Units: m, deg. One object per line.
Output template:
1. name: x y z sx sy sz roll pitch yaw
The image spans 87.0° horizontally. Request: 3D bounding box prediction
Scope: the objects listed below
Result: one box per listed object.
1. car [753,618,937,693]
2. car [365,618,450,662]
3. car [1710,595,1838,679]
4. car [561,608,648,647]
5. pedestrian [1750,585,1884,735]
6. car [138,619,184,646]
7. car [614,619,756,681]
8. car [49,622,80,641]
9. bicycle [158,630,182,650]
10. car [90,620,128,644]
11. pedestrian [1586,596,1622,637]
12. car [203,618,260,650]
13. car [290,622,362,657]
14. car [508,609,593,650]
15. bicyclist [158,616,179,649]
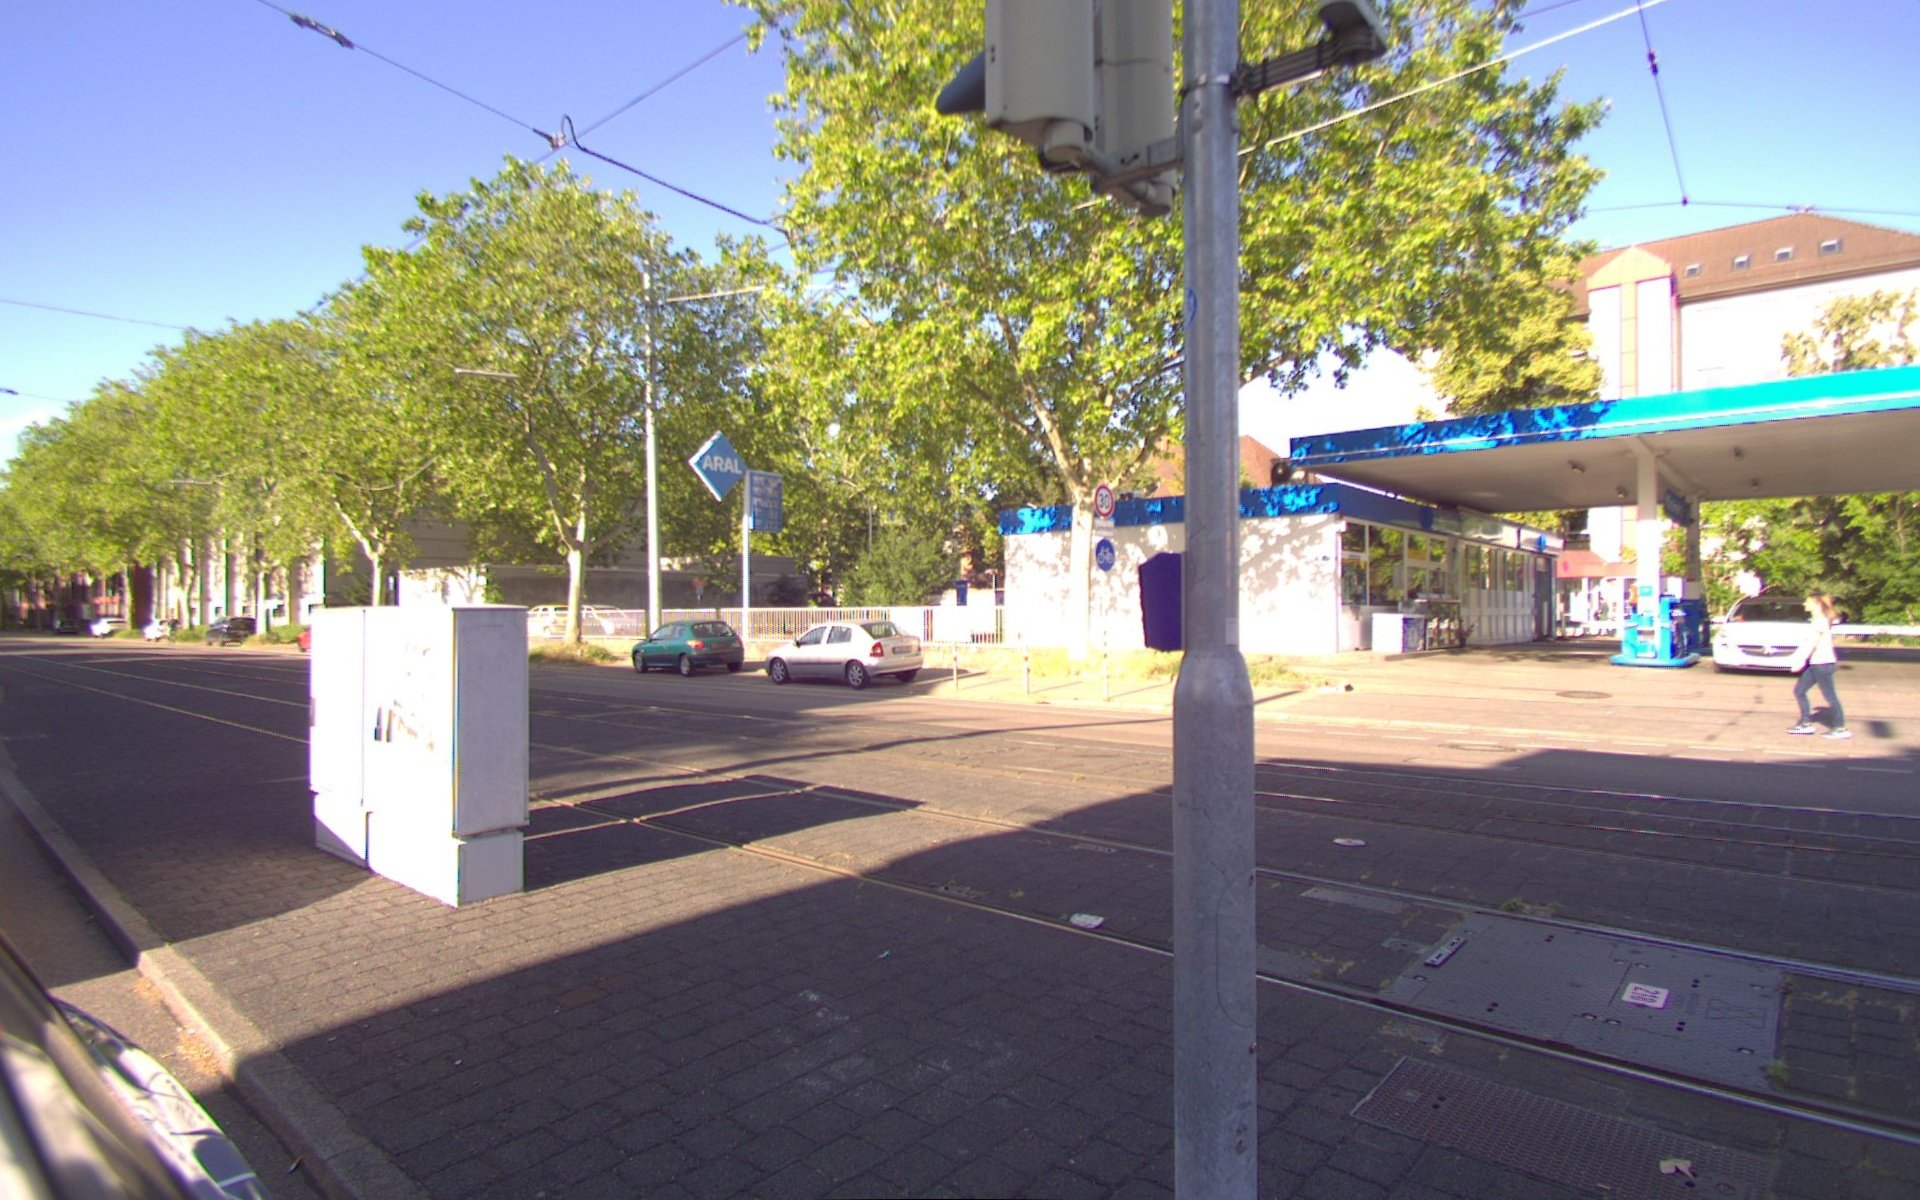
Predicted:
1. car: -2.624 1.179 22.637 3.997 1.418 1.823 -1 1 40
2. car: -21.966 1.542 40.178 4.002 1.545 1.820 -1 1 45
3. car: 16.012 0.673 19.873 1.780 1.475 3.946 -1 -1 40
4. car: -15.395 1.174 43.764 3.999 1.545 1.822 -1 1 42
5. pedestrian: 9.804 0.686 11.603 1.106 1.632 0.706 -2 -6 42
6. car: -53.841 2.161 68.197 4.098 1.686 1.821 -1 1 44
7. car: -7.431 1.277 27.126 4.138 1.418 1.820 -1 1 45
8. car: -85.042 2.947 96.092 4.098 1.686 1.821 -1 1 44
9. bicycle: -45.093 2.278 57.758 2.532 1.129 0.645 -1 -1 41
10. car: -66.945 2.490 79.569 4.098 1.686 1.821 -1 1 44
11. pedestrian: 29.171 0.759 45.838 1.178 1.842 1.045 -1 -2 41
12. car: -40.658 1.886 56.472 4.098 1.628 1.821 -1 1 44
13. car: -28.966 1.775 46.171 4.001 1.418 1.821 -1 1 44
14. car: -17.135 1.197 42.271 4.002 1.545 1.820 -1 1 45
15. bicyclist: -45.160 1.837 57.748 1.070 1.878 0.711 -1 -2 41
